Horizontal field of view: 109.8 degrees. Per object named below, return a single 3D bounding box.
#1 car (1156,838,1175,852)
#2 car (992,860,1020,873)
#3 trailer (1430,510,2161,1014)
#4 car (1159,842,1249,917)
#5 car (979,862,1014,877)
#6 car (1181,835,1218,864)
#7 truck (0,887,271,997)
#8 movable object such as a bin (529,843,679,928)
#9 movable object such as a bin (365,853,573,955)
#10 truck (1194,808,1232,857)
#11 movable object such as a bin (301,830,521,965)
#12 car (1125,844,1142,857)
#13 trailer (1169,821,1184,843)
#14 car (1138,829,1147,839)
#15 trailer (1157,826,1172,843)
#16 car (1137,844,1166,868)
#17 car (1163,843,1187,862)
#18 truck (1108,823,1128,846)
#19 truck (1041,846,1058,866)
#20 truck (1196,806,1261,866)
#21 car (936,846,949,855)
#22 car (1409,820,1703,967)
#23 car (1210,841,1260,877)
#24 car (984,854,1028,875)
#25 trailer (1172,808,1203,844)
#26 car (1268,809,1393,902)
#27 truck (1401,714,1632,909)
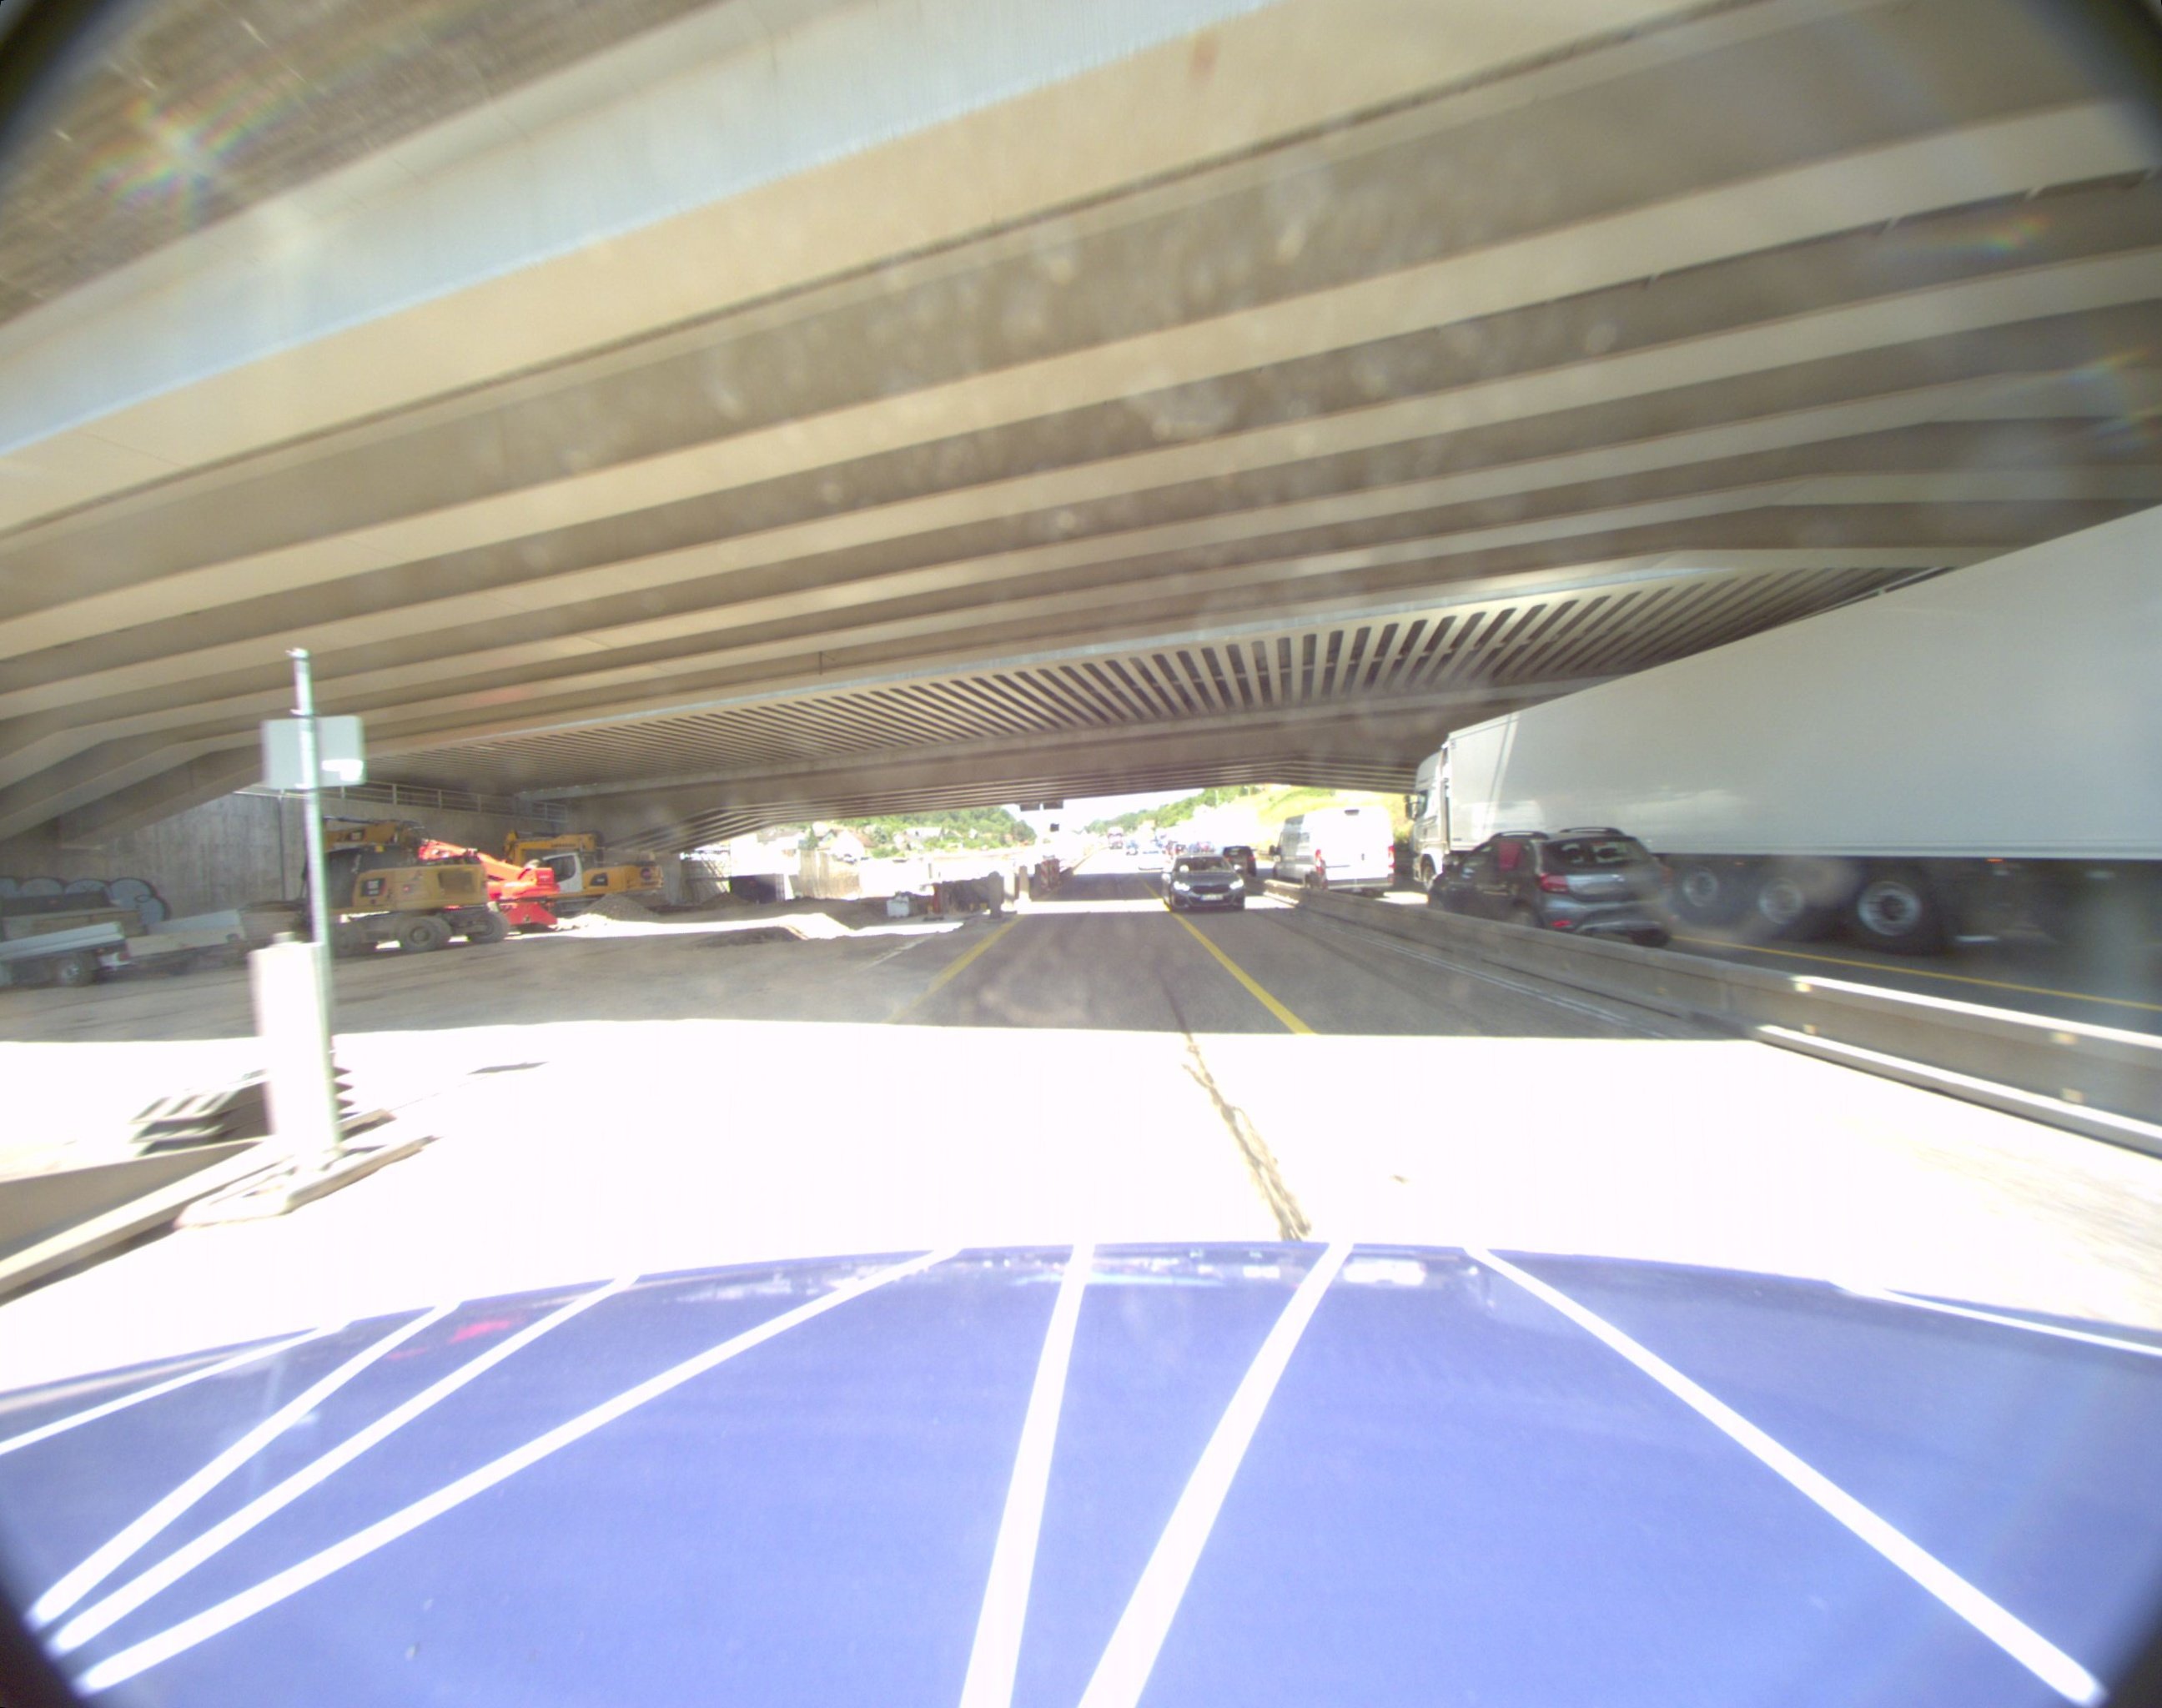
[{"bbox_3d":[10.265,-1.114,92.788,1.860,1.519,4.772,-3,2,2],"label":"car"},{"bbox_3d":[-11.220,1.871,113.486,3.870,1.676,1.692,-4,2,-2],"label":"car"},{"bbox_3d":[10.248,-0.852,12.142,2.884,4.016,14.358,-4,0,2],"label":"trailer"},{"bbox_3d":[3.058,0.564,19.696,1.838,1.588,4.389,-3,1,4],"label":"car"},{"bbox_3d":[-12.248,2.187,110.239,4.800,1.759,1.720,-4,1,3],"label":"car"},{"bbox_3d":[8.414,-0.353,54.291,1.804,1.921,4.967,-3,1,1],"label":"car"},{"bbox_3d":[-23.548,2.065,17.827,6.535,2.061,2.666,-4,1,6],"label":"truck"},{"bbox_3d":[-21.224,1.336,34.012,4.563,3.269,2.991,-4,2,7],"label":"movable object such as a bin"},{"bbox_3d":[-21.406,1.707,26.758,5.250,3.039,2.497,-4,2,7],"label":"movable object such as a bin"},{"bbox_3d":[11.992,-1.988,69.353,2.665,4.148,5.185,-3,2,3],"label":"truck"},{"bbox_3d":[-19.760,1.217,22.571,3.887,3.523,2.904,-4,2,14],"label":"movable object such as a bin"},{"bbox_3d":[6.566,-0.390,95.765,1.801,1.543,4.000,-3,0,0],"label":"car"},{"bbox_3d":[18.100,-4.262,143.741,2.661,3.795,11.822,-2,2,7],"label":"trailer"},{"bbox_3d":[17.646,-5.740,218.578,2.211,2.615,6.626,-3,2,2],"label":"car"},{"bbox_3d":[19.101,-4.540,174.802,2.606,3.849,11.271,-3,2,3],"label":"trailer"},{"bbox_3d":[4.857,0.074,53.124,1.838,1.465,4.389,-3,2,4],"label":"car"},{"bbox_3d":[8.638,-0.181,70.201,1.726,1.600,4.524,-4,0,2],"label":"car"},{"bbox_3d":[7.065,-3.769,145.100,3.462,4.024,10.208,-3,2,3],"label":"truck"},{"bbox_3d":[-5.835,0.305,139.766,2.504,3.386,5.435,-3,2,3],"label":"truck"},{"bbox_3d":[11.885,-1.582,62.605,2.776,4.290,13.485,-3,2,1],"label":"truck"},{"bbox_3d":[-27.486,-0.717,151.008,1.657,1.594,4.605,-3,2,2],"label":"car"},{"bbox_3d":[6.497,0.469,11.023,1.751,1.661,4.079,-3,0,2],"label":"car"},{"bbox_3d":[7.564,0.186,37.648,1.752,1.600,4.141,-3,1,3],"label":"car"},{"bbox_3d":[-11.544,1.646,116.990,6.307,2.566,2.053,-6,1,-11],"label":"car"},{"bbox_3d":[13.227,-3.440,94.629,2.819,4.151,8.241,-3,2,2],"label":"trailer"},{"bbox_3d":[7.221,-0.017,22.723,1.985,2.317,6.058,-3,1,3],"label":"car"},{"bbox_3d":[10.489,-0.938,18.961,2.880,4.027,4.885,-4,1,2],"label":"truck"}]
